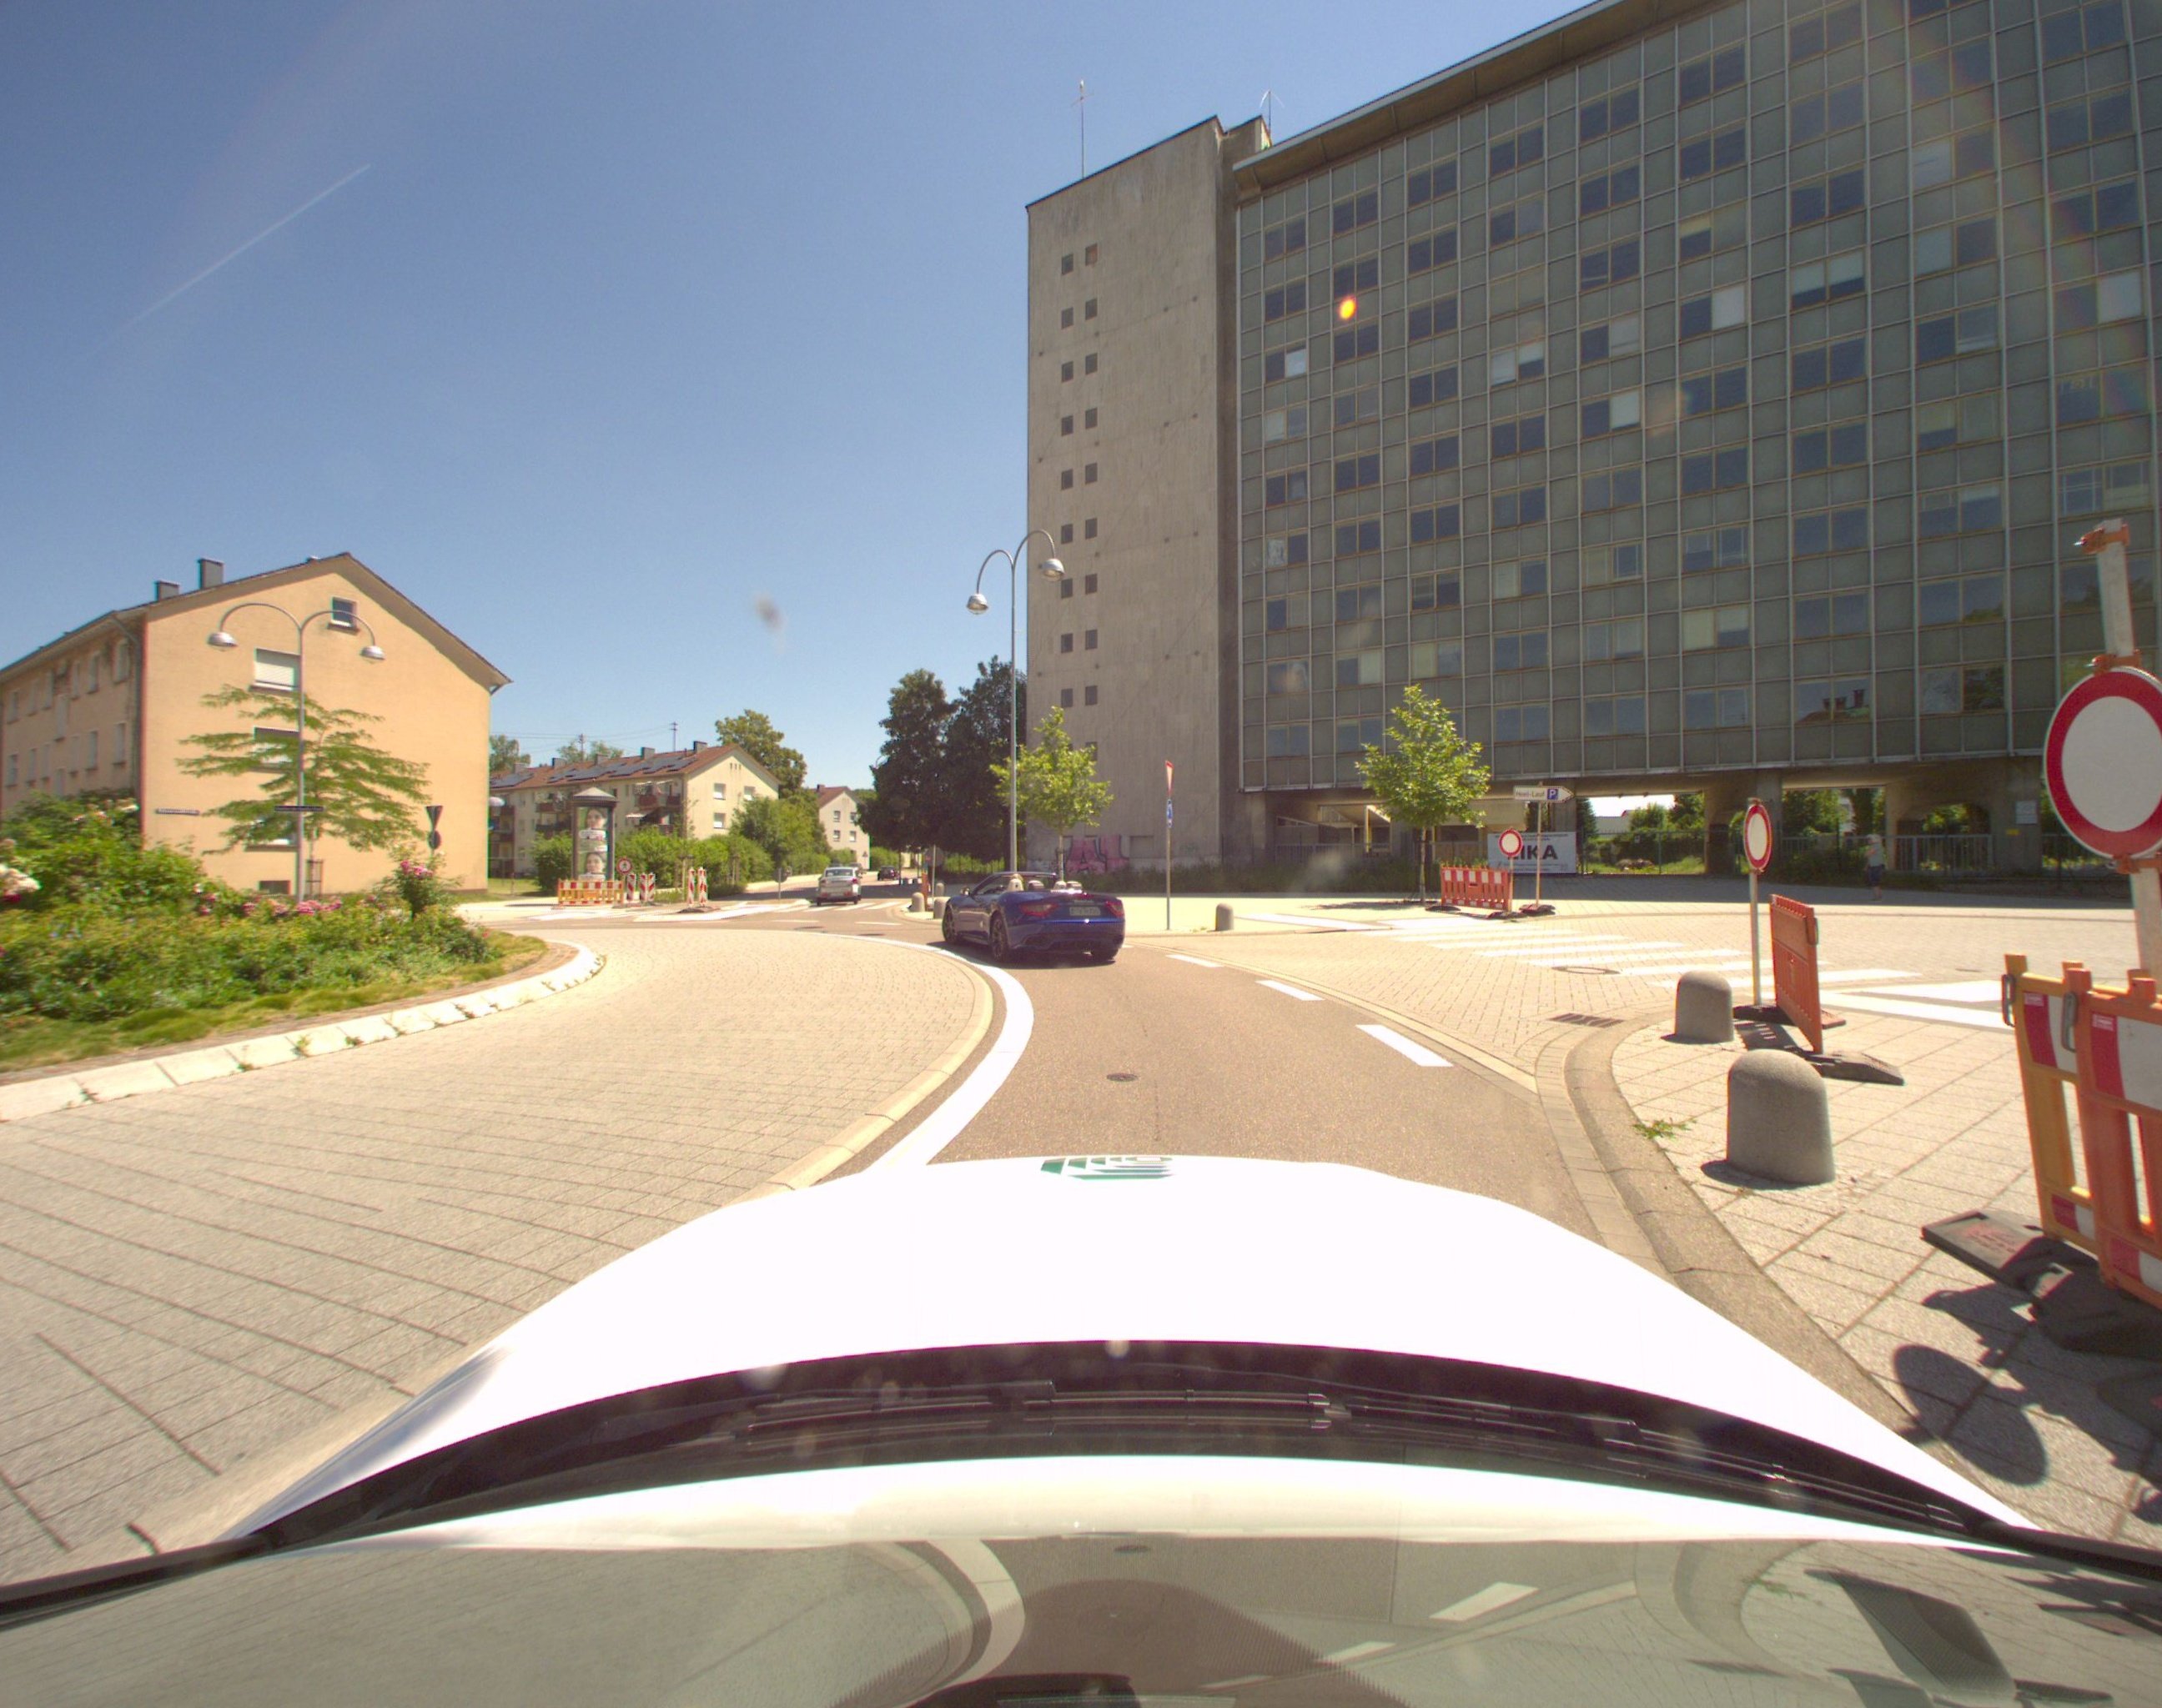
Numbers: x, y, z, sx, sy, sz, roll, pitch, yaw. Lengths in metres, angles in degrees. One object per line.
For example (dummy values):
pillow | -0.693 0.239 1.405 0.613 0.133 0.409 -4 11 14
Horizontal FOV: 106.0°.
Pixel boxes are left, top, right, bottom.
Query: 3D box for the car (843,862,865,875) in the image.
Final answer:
car | -27.333 1.788 98.255 1.735 1.436 3.707 -2 0 -3

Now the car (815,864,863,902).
car | -10.117 1.158 33.876 1.744 1.436 3.687 -2 0 -19

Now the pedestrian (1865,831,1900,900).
pedestrian | 20.209 0.288 20.543 0.559 1.708 0.490 -1 1 36

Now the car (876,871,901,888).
car | -18.490 2.448 78.297 1.735 1.436 3.706 -2 0 -4

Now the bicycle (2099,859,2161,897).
bicycle | 26.320 0.571 20.083 0.444 0.907 1.758 -1 -1 9

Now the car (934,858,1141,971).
car | -0.929 0.905 13.435 1.880 1.530 4.469 0 -2 -25

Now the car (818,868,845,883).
car | -26.377 2.231 86.175 1.735 1.436 3.707 -2 0 -3
